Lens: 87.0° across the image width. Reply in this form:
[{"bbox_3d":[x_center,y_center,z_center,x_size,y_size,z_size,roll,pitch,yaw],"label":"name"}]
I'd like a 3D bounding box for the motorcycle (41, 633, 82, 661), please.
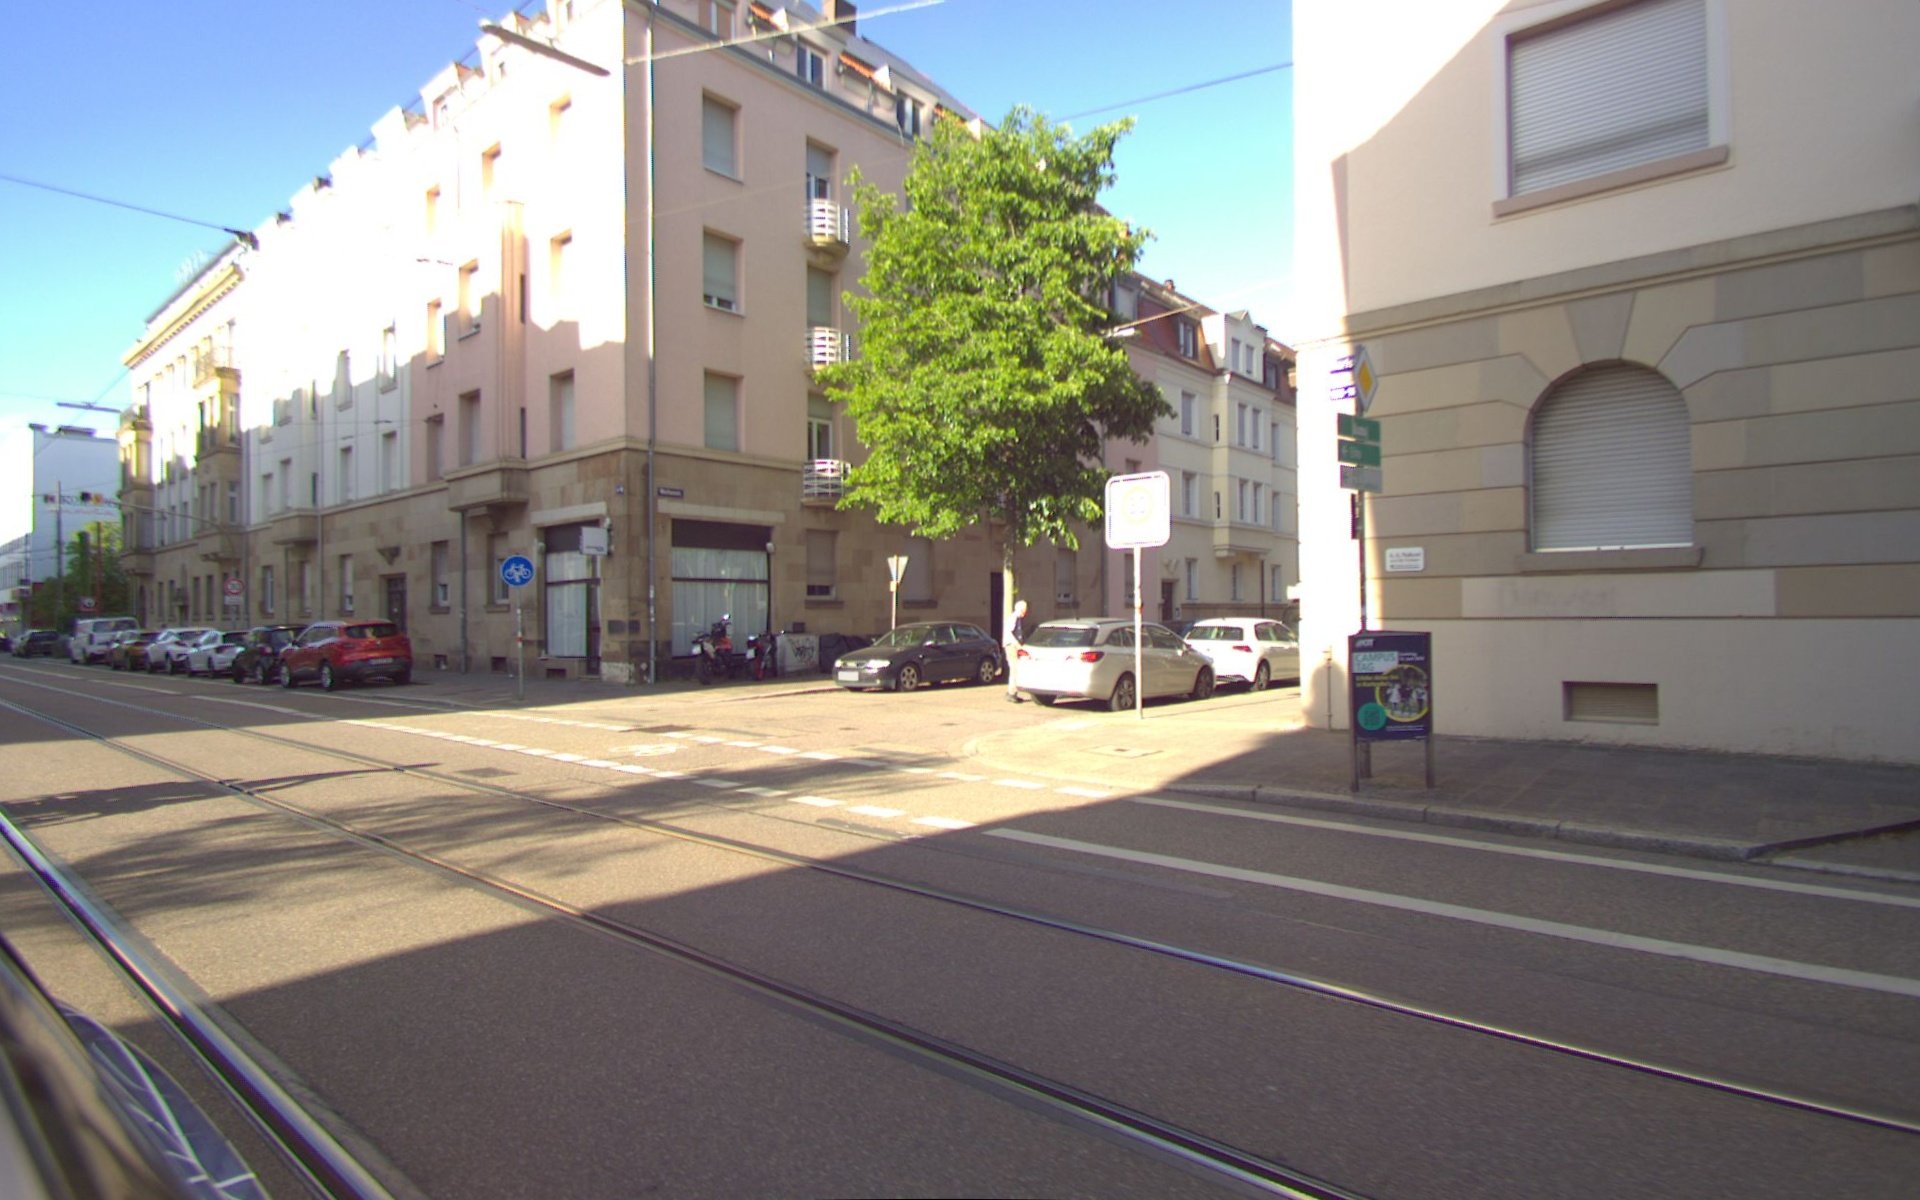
[{"bbox_3d":[-46.971,2.436,52.923,0.871,1.361,1.963,-1,-1,-17],"label":"motorcycle"}]

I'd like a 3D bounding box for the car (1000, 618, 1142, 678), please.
[{"bbox_3d":[2.942,1.220,26.260,1.746,1.405,3.946,-4,-3,40],"label":"car"}]

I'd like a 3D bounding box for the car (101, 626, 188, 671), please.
[{"bbox_3d":[-30.916,1.821,38.335,4.356,1.535,1.765,-2,0,40],"label":"car"}]

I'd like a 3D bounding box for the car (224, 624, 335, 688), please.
[{"bbox_3d":[-18.624,1.480,27.679,3.018,1.564,1.765,-2,0,41],"label":"car"}]

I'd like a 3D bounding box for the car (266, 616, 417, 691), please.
[{"bbox_3d":[-15.149,1.258,24.705,4.392,1.618,1.766,-2,0,39],"label":"car"}]

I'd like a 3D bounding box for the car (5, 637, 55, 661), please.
[{"bbox_3d":[-56.127,2.940,61.082,4.219,1.323,1.765,-2,0,41],"label":"car"}]

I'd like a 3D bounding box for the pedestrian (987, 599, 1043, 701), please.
[{"bbox_3d":[0.958,0.854,17.550,0.731,1.725,0.600,-2,-2,41],"label":"pedestrian"}]

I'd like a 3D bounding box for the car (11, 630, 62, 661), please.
[{"bbox_3d":[-52.146,2.534,57.110,4.610,1.577,1.764,-2,0,43],"label":"car"}]

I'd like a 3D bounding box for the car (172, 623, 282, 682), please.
[{"bbox_3d":[-22.983,1.609,31.685,4.175,1.634,1.766,-2,0,39],"label":"car"}]

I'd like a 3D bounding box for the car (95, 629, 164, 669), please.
[{"bbox_3d":[-34.227,1.981,41.674,3.644,1.484,1.586,-2,0,41],"label":"car"}]

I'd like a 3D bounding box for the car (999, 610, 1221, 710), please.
[{"bbox_3d":[2.662,0.946,17.227,1.781,1.476,4.174,-4,-3,40],"label":"car"}]

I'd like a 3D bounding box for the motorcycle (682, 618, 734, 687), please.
[{"bbox_3d":[-5.549,1.121,22.194,0.934,1.429,2.032,0,-1,-19],"label":"motorcycle"}]

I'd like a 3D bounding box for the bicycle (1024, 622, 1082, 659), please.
[{"bbox_3d":[3.060,1.333,33.078,0.614,1.172,2.444,-2,-3,40],"label":"bicycle"}]

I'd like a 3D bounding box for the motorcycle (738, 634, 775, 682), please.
[{"bbox_3d":[-4.683,1.312,23.355,0.549,1.043,2.037,-1,-1,-3],"label":"motorcycle"}]

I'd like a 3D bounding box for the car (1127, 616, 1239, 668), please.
[{"bbox_3d":[6.764,1.238,30.518,1.746,1.433,3.665,-4,-3,40],"label":"car"}]

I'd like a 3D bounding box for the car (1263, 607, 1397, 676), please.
[{"bbox_3d":[9.364,1.020,25.451,1.858,1.593,3.946,-4,-3,40],"label":"car"}]

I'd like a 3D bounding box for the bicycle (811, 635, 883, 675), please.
[{"bbox_3d":[-2.859,1.373,25.621,1.763,0.940,0.615,0,-2,-41],"label":"bicycle"}]

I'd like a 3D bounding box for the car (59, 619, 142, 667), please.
[{"bbox_3d":[-38.251,1.890,45.003,5.248,1.963,1.953,-2,0,40],"label":"car"}]

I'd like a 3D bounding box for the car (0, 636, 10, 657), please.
[{"bbox_3d":[-70.136,3.412,73.111,4.839,1.456,1.765,-2,0,42],"label":"car"}]

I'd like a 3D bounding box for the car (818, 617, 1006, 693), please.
[{"bbox_3d":[-0.928,1.116,21.392,1.746,1.405,3.946,-4,-3,40],"label":"car"}]

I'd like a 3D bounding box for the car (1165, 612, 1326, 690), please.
[{"bbox_3d":[6.083,1.039,21.325,1.840,1.476,3.757,-4,-3,40],"label":"car"}]

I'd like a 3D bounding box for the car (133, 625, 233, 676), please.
[{"bbox_3d":[-26.846,1.704,34.912,4.361,1.558,1.754,-2,0,39],"label":"car"}]
